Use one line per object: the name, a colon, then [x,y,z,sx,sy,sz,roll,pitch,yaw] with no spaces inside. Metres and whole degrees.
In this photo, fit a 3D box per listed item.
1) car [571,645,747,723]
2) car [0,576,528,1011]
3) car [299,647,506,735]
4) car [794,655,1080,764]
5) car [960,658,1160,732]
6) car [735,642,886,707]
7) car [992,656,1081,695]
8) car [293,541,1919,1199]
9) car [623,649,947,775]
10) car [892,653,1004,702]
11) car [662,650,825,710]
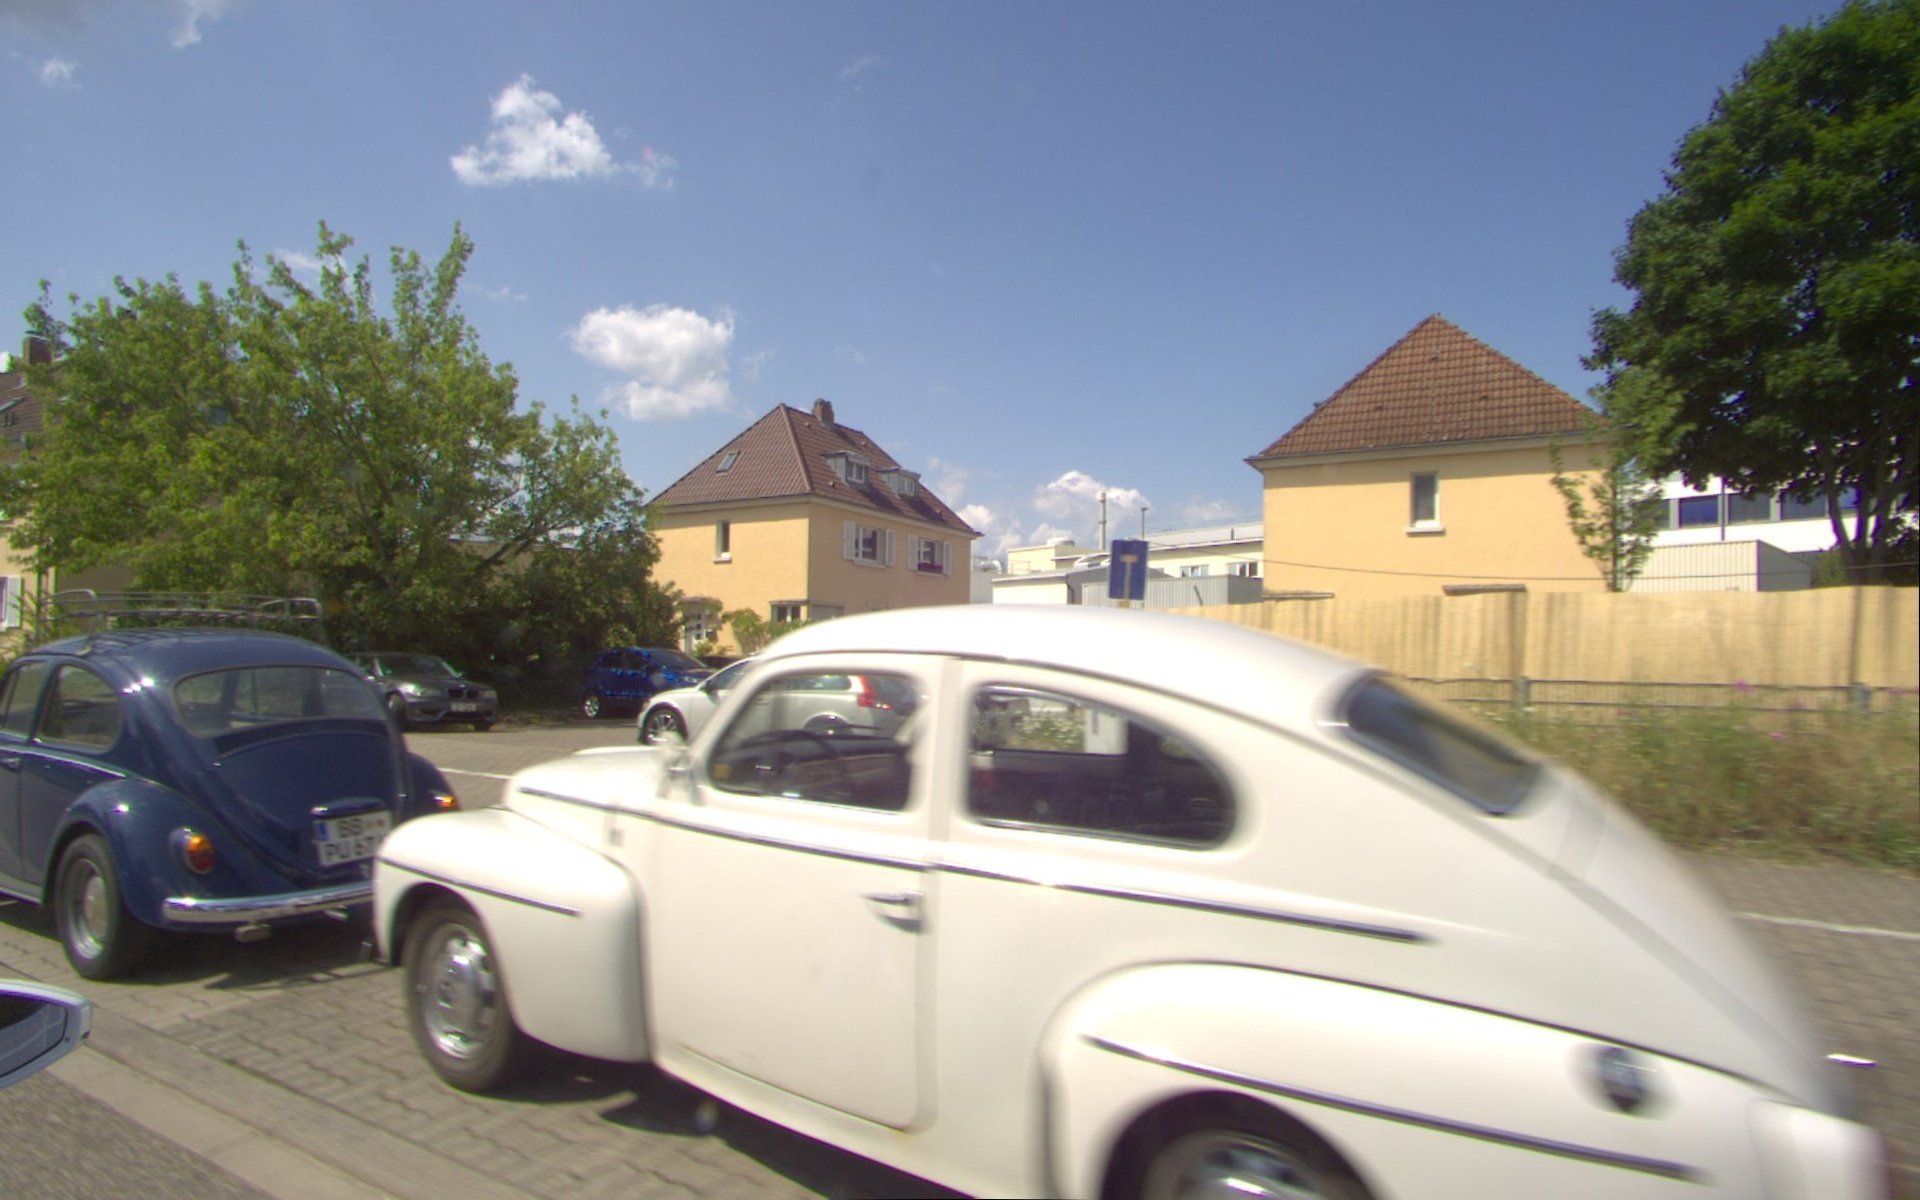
car: [-7.013,1.886,23.245,4.027,1.567,1.633,-1,0,31]
car: [-4.462,0.803,5.540,4.182,1.661,1.548,-1,-3,29]
car: [-9.975,1.544,17.822,4.033,1.372,1.632,-1,-3,35]
car: [-0.370,1.554,15.066,4.024,1.391,1.636,-1,-3,27]
car: [2.165,2.015,21.523,4.015,1.390,1.641,0,-4,19]
car: [-4.179,2.098,27.830,4.029,1.685,1.635,-3,-4,31]
car: [2.907,2.809,37.372,1.618,1.381,4.070,-3,-5,31]
car: [-0.056,0.760,3.039,4.395,1.531,1.575,-1,-3,32]
car: [-2.327,1.370,13.140,4.024,1.391,1.636,-1,-3,27]
car: [-0.301,2.441,31.633,1.618,1.453,4.070,-3,-5,31]
car: [-5.555,2.015,25.597,4.028,1.418,1.635,-2,-4,31]
